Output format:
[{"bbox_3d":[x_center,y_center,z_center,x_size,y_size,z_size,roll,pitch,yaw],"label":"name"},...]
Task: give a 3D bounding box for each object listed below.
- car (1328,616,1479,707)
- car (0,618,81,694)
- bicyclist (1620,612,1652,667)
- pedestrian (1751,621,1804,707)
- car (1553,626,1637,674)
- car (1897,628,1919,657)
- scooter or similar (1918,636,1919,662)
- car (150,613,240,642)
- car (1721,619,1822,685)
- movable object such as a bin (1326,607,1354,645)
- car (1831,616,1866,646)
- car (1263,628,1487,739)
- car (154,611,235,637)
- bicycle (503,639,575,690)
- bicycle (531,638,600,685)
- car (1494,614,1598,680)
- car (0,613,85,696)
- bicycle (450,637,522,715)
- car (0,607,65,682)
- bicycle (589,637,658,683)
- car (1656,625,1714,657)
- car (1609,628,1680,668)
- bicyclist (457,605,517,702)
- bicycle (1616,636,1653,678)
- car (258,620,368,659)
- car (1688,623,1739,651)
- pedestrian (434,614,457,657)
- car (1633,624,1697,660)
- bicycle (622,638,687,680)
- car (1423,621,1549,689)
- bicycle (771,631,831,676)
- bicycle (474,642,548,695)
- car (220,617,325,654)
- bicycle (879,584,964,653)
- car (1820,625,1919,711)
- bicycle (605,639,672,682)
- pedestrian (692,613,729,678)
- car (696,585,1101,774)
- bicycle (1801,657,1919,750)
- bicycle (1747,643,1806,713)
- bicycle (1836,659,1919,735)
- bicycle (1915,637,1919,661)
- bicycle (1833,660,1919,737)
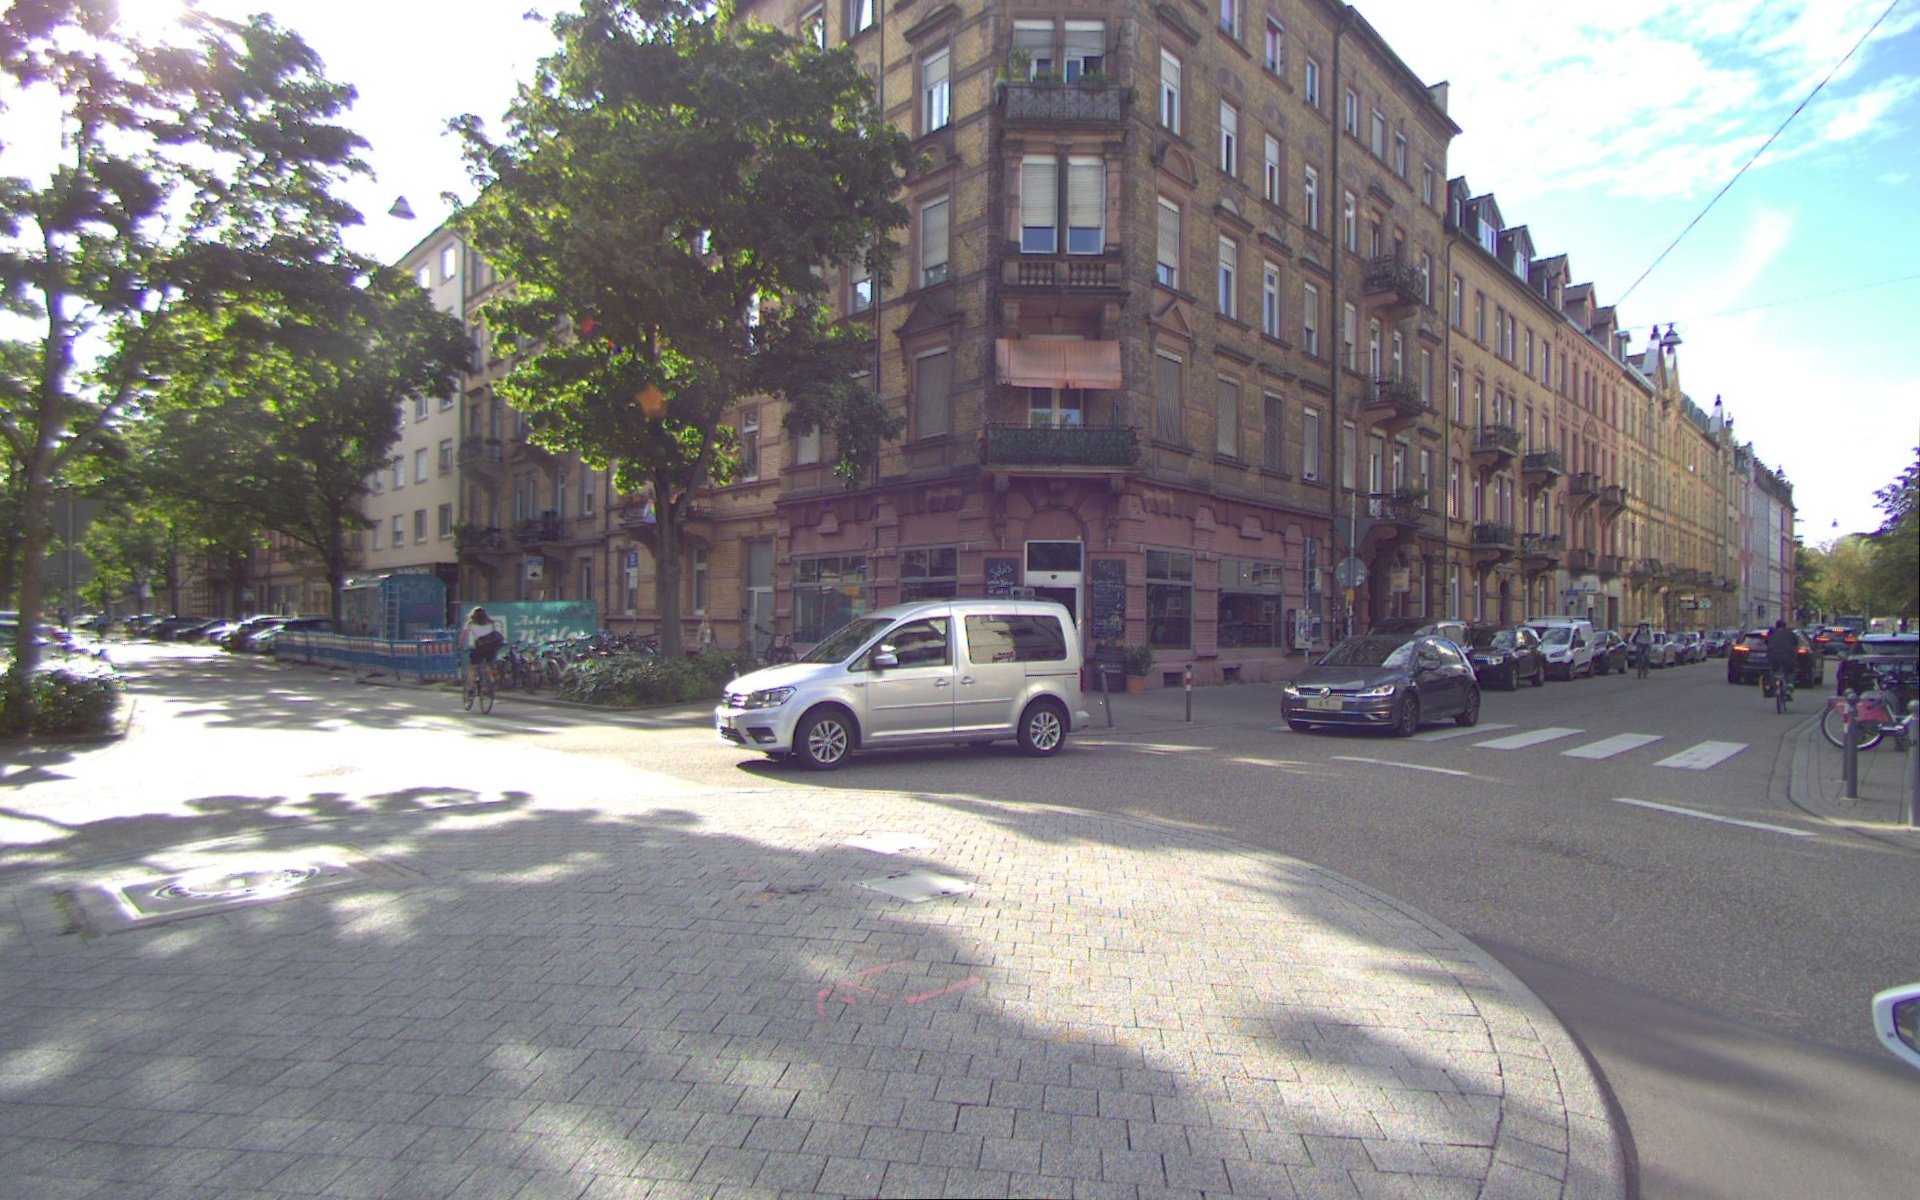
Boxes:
[{"bbox_3d":[10.033,1.306,22.556,1.741,1.797,4.380,1,0,43],"label":"car"},{"bbox_3d":[-20.537,1.133,20.336,4.047,1.496,1.556,1,0,-45],"label":"car"},{"bbox_3d":[21.665,1.247,32.198,0.692,1.700,1.107,1,0,41],"label":"bicyclist"},{"bbox_3d":[16.492,1.268,20.268,0.924,1.672,0.711,1,0,-45],"label":"pedestrian"},{"bbox_3d":[22.274,1.735,35.174,1.723,1.503,3.960,2,0,43],"label":"car"},{"bbox_3d":[54.108,2.323,55.055,3.710,1.566,1.726,-2,-4,35],"label":"car"},{"bbox_3d":[43.621,2.165,44.821,0.372,1.162,1.206,-2,-2,-13],"label":"scooter or similar"},{"bbox_3d":[-45.049,1.601,59.193,1.810,1.591,3.975,1,0,44],"label":"car"},{"bbox_3d":[23.994,1.484,29.653,1.945,1.764,4.016,0,-1,45],"label":"car"},{"bbox_3d":[7.547,0.514,19.938,0.378,0.724,0.473,1,0,40],"label":"movable object such as a bin"},{"bbox_3d":[63.967,2.175,72.287,1.763,2.047,3.865,1,0,43],"label":"car"},{"bbox_3d":[6.382,1.191,15.259,1.773,1.456,3.975,-2,-4,45],"label":"car"},{"bbox_3d":[-49.377,1.509,64.826,1.810,1.591,3.975,1,0,44],"label":"car"},{"bbox_3d":[-9.502,1.429,22.631,2.045,1.043,0.589,0,1,40],"label":"bicycle"},{"bbox_3d":[-9.415,1.439,23.942,2.045,1.025,0.589,0,1,40],"label":"bicycle"},{"bbox_3d":[18.424,1.408,31.480,1.899,1.896,4.411,0,-1,43],"label":"car"},{"bbox_3d":[-18.855,1.014,18.757,1.555,1.496,3.677,1,0,43],"label":"car"},{"bbox_3d":[-8.336,1.292,17.626,0.687,1.215,1.955,1,0,-39],"label":"bicycle"},{"bbox_3d":[-22.329,0.982,22.241,3.675,1.618,1.556,1,0,-45],"label":"car"},{"bbox_3d":[-8.171,1.439,24.375,2.045,1.025,0.589,0,1,40],"label":"bicycle"},{"bbox_3d":[34.995,1.928,48.422,1.673,1.405,3.842,1,0,45],"label":"car"},{"bbox_3d":[28.651,1.958,42.003,1.724,1.503,3.958,1,0,45],"label":"car"},{"bbox_3d":[-8.254,0.910,17.522,0.687,1.608,1.115,1,0,-39],"label":"bicyclist"},{"bbox_3d":[21.562,1.807,32.084,0.692,1.236,2.106,1,0,41],"label":"bicycle"},{"bbox_3d":[-28.505,1.712,44.319,3.959,1.623,1.861,1,0,-35],"label":"car"},{"bbox_3d":[40.812,1.992,54.374,1.673,1.405,3.842,1,0,45],"label":"car"},{"bbox_3d":[-20.883,1.431,40.778,0.513,1.695,0.698,0,-1,43],"label":"pedestrian"},{"bbox_3d":[32.006,1.867,45.565,1.724,1.503,3.958,1,0,45],"label":"car"},{"bbox_3d":[-7.910,1.500,25.968,2.045,0.981,0.589,0,1,40],"label":"bicycle"},{"bbox_3d":[14.222,1.422,27.061,1.972,1.660,4.121,0,-1,43],"label":"car"},{"bbox_3d":[-4.012,1.330,25.264,1.759,1.081,0.525,-1,-2,44],"label":"bicycle"},{"bbox_3d":[-9.869,1.471,22.038,2.109,1.043,0.589,0,1,40],"label":"bicycle"},{"bbox_3d":[-31.927,1.639,46.739,3.959,1.623,1.861,1,0,-35],"label":"car"},{"bbox_3d":[-0.908,0.420,23.177,2.132,1.541,0.554,0,-1,40],"label":"bicycle"},{"bbox_3d":[19.355,1.366,20.983,1.775,1.626,3.899,-4,-3,45],"label":"car"},{"bbox_3d":[-8.068,1.499,25.144,2.045,0.981,0.589,0,1,40],"label":"bicycle"},{"bbox_3d":[-6.455,1.164,25.979,0.610,1.599,0.800,-3,3,-39],"label":"pedestrian"},{"bbox_3d":[-0.653,0.858,11.512,4.277,1.814,1.822,2,-3,-29],"label":"car"},{"bbox_3d":[12.264,1.331,13.130,1.862,1.140,0.902,-4,-3,43],"label":"bicycle"},{"bbox_3d":[16.450,1.544,20.228,1.872,1.291,0.711,1,0,-45],"label":"bicycle"},{"bbox_3d":[14.316,1.440,15.002,1.764,1.085,0.585,-3,-2,35],"label":"bicycle"},{"bbox_3d":[44.264,2.194,45.228,1.745,1.070,0.409,-3,-3,40],"label":"bicycle"},{"bbox_3d":[13.880,1.416,14.547,1.764,1.085,0.567,-3,-2,35],"label":"bicycle"}]
